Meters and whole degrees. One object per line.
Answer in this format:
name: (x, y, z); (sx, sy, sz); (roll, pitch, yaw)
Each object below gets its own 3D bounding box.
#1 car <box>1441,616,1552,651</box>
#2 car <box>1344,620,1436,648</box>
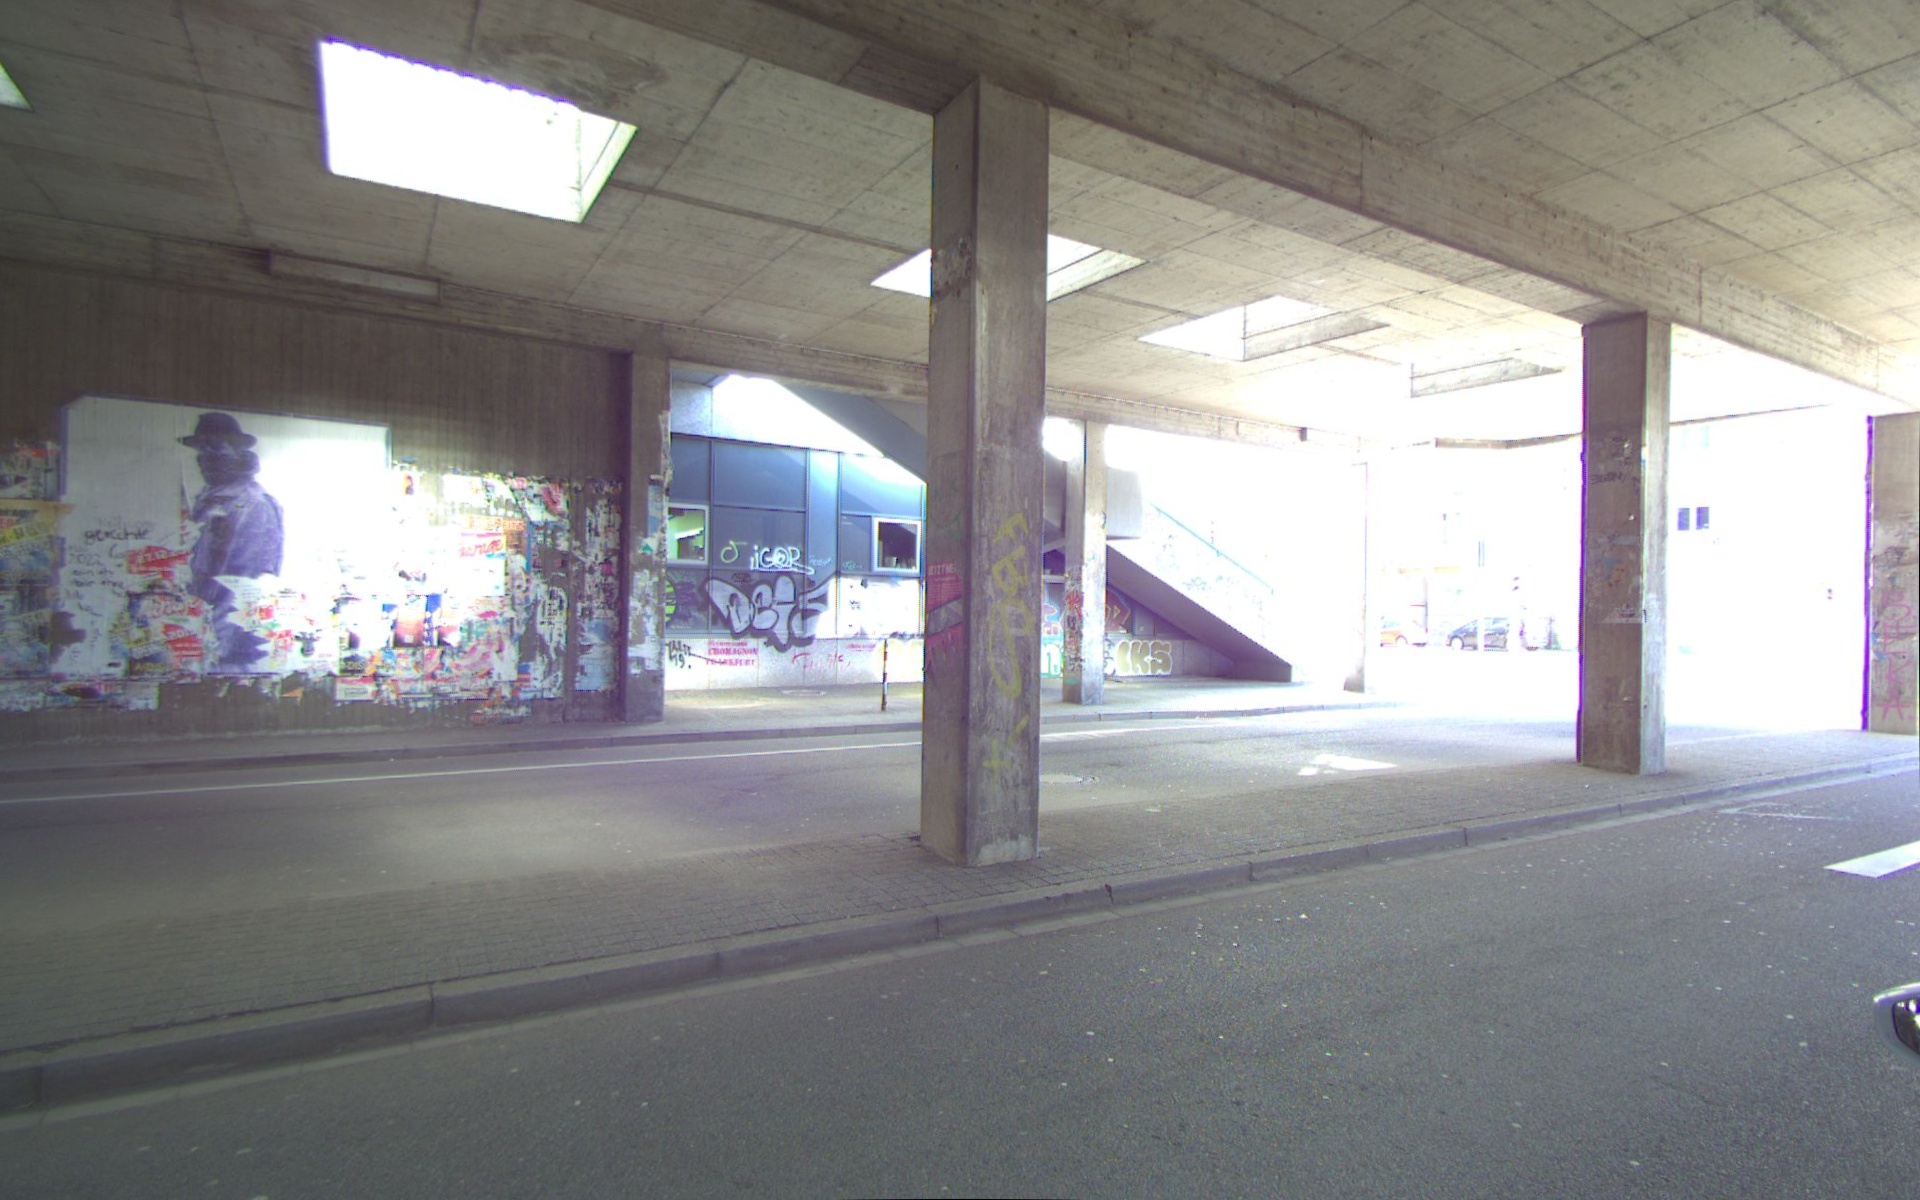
car: (25.402, 1.575, 47.652); (2.240, 1.571, 4.111); (1, -1, -29)
car: (22.480, 1.762, 52.663); (2.163, 1.392, 3.971); (1, -1, -28)
